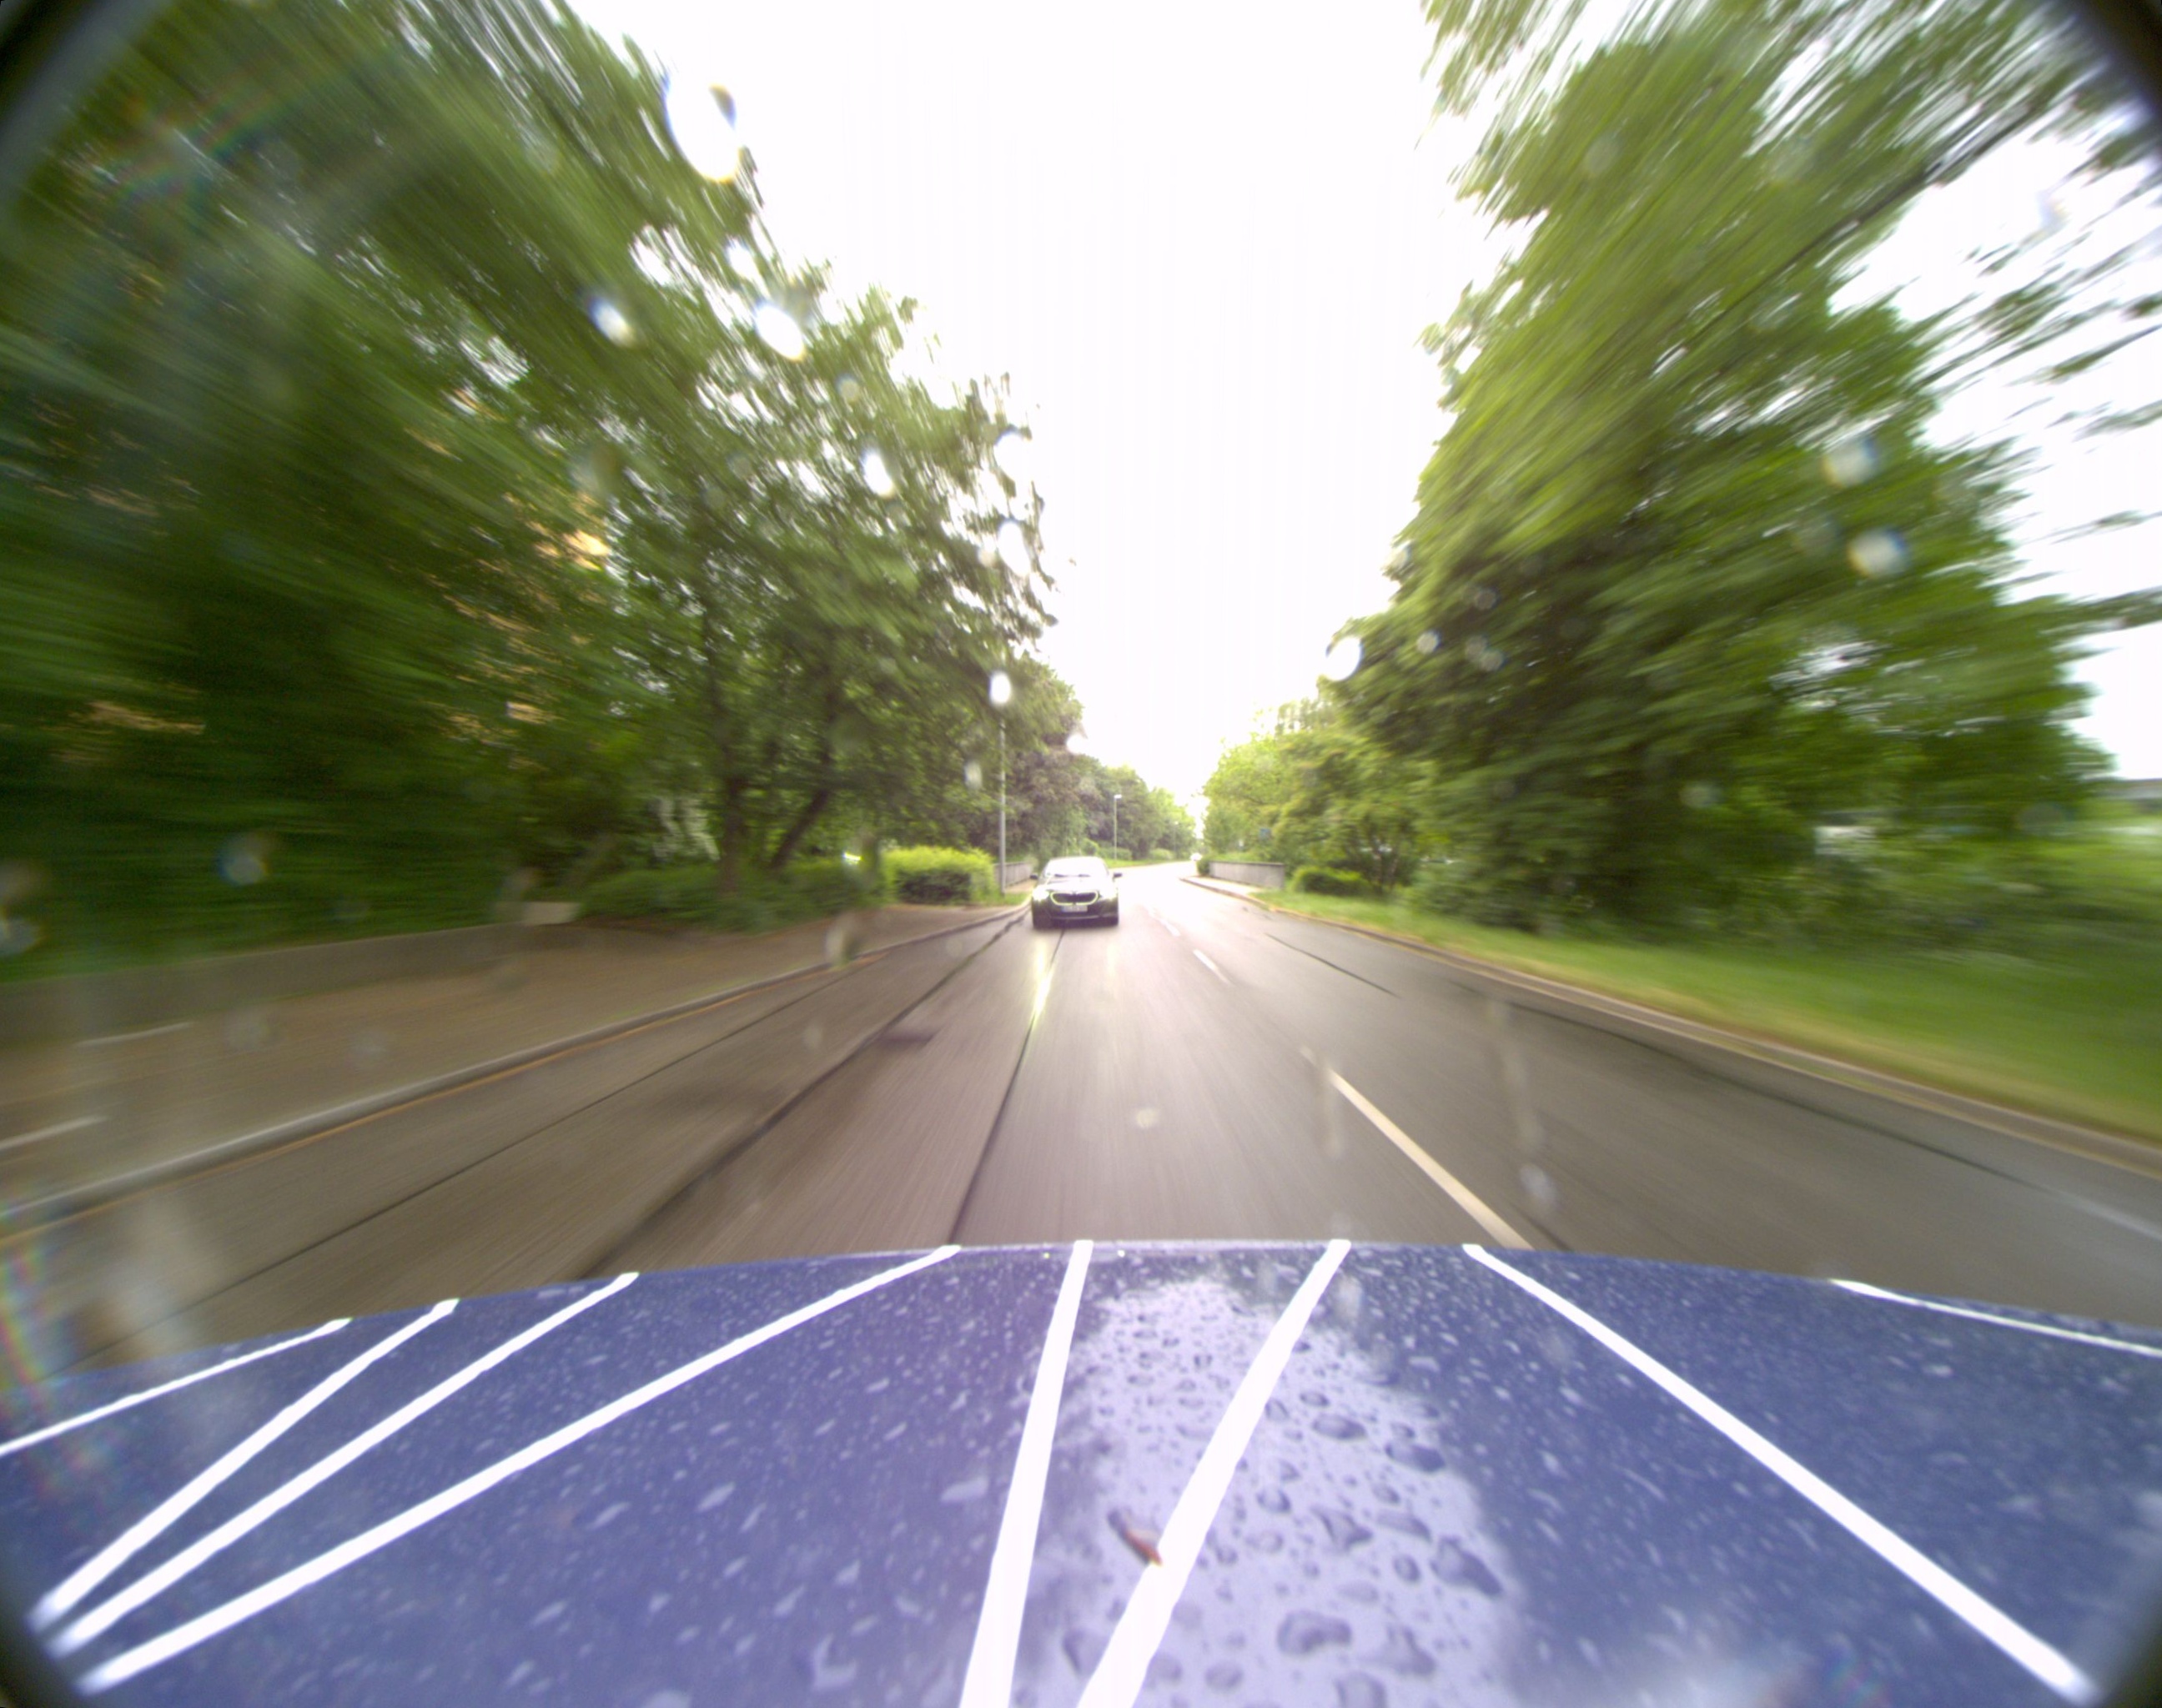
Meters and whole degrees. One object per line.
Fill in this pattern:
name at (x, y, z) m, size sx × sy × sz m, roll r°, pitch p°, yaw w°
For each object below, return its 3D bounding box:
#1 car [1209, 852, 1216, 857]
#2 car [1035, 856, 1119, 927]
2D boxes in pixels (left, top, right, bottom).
car at (35.813, 0.172, 206.742) m, size 1.829 × 1.456 × 4.004 m, roll 1°, pitch 1°, yaw 13°
car at (-0.065, 0.856, 19.318) m, size 1.832 × 1.499 × 4.498 m, roll -2°, pitch 0°, yaw 1°
